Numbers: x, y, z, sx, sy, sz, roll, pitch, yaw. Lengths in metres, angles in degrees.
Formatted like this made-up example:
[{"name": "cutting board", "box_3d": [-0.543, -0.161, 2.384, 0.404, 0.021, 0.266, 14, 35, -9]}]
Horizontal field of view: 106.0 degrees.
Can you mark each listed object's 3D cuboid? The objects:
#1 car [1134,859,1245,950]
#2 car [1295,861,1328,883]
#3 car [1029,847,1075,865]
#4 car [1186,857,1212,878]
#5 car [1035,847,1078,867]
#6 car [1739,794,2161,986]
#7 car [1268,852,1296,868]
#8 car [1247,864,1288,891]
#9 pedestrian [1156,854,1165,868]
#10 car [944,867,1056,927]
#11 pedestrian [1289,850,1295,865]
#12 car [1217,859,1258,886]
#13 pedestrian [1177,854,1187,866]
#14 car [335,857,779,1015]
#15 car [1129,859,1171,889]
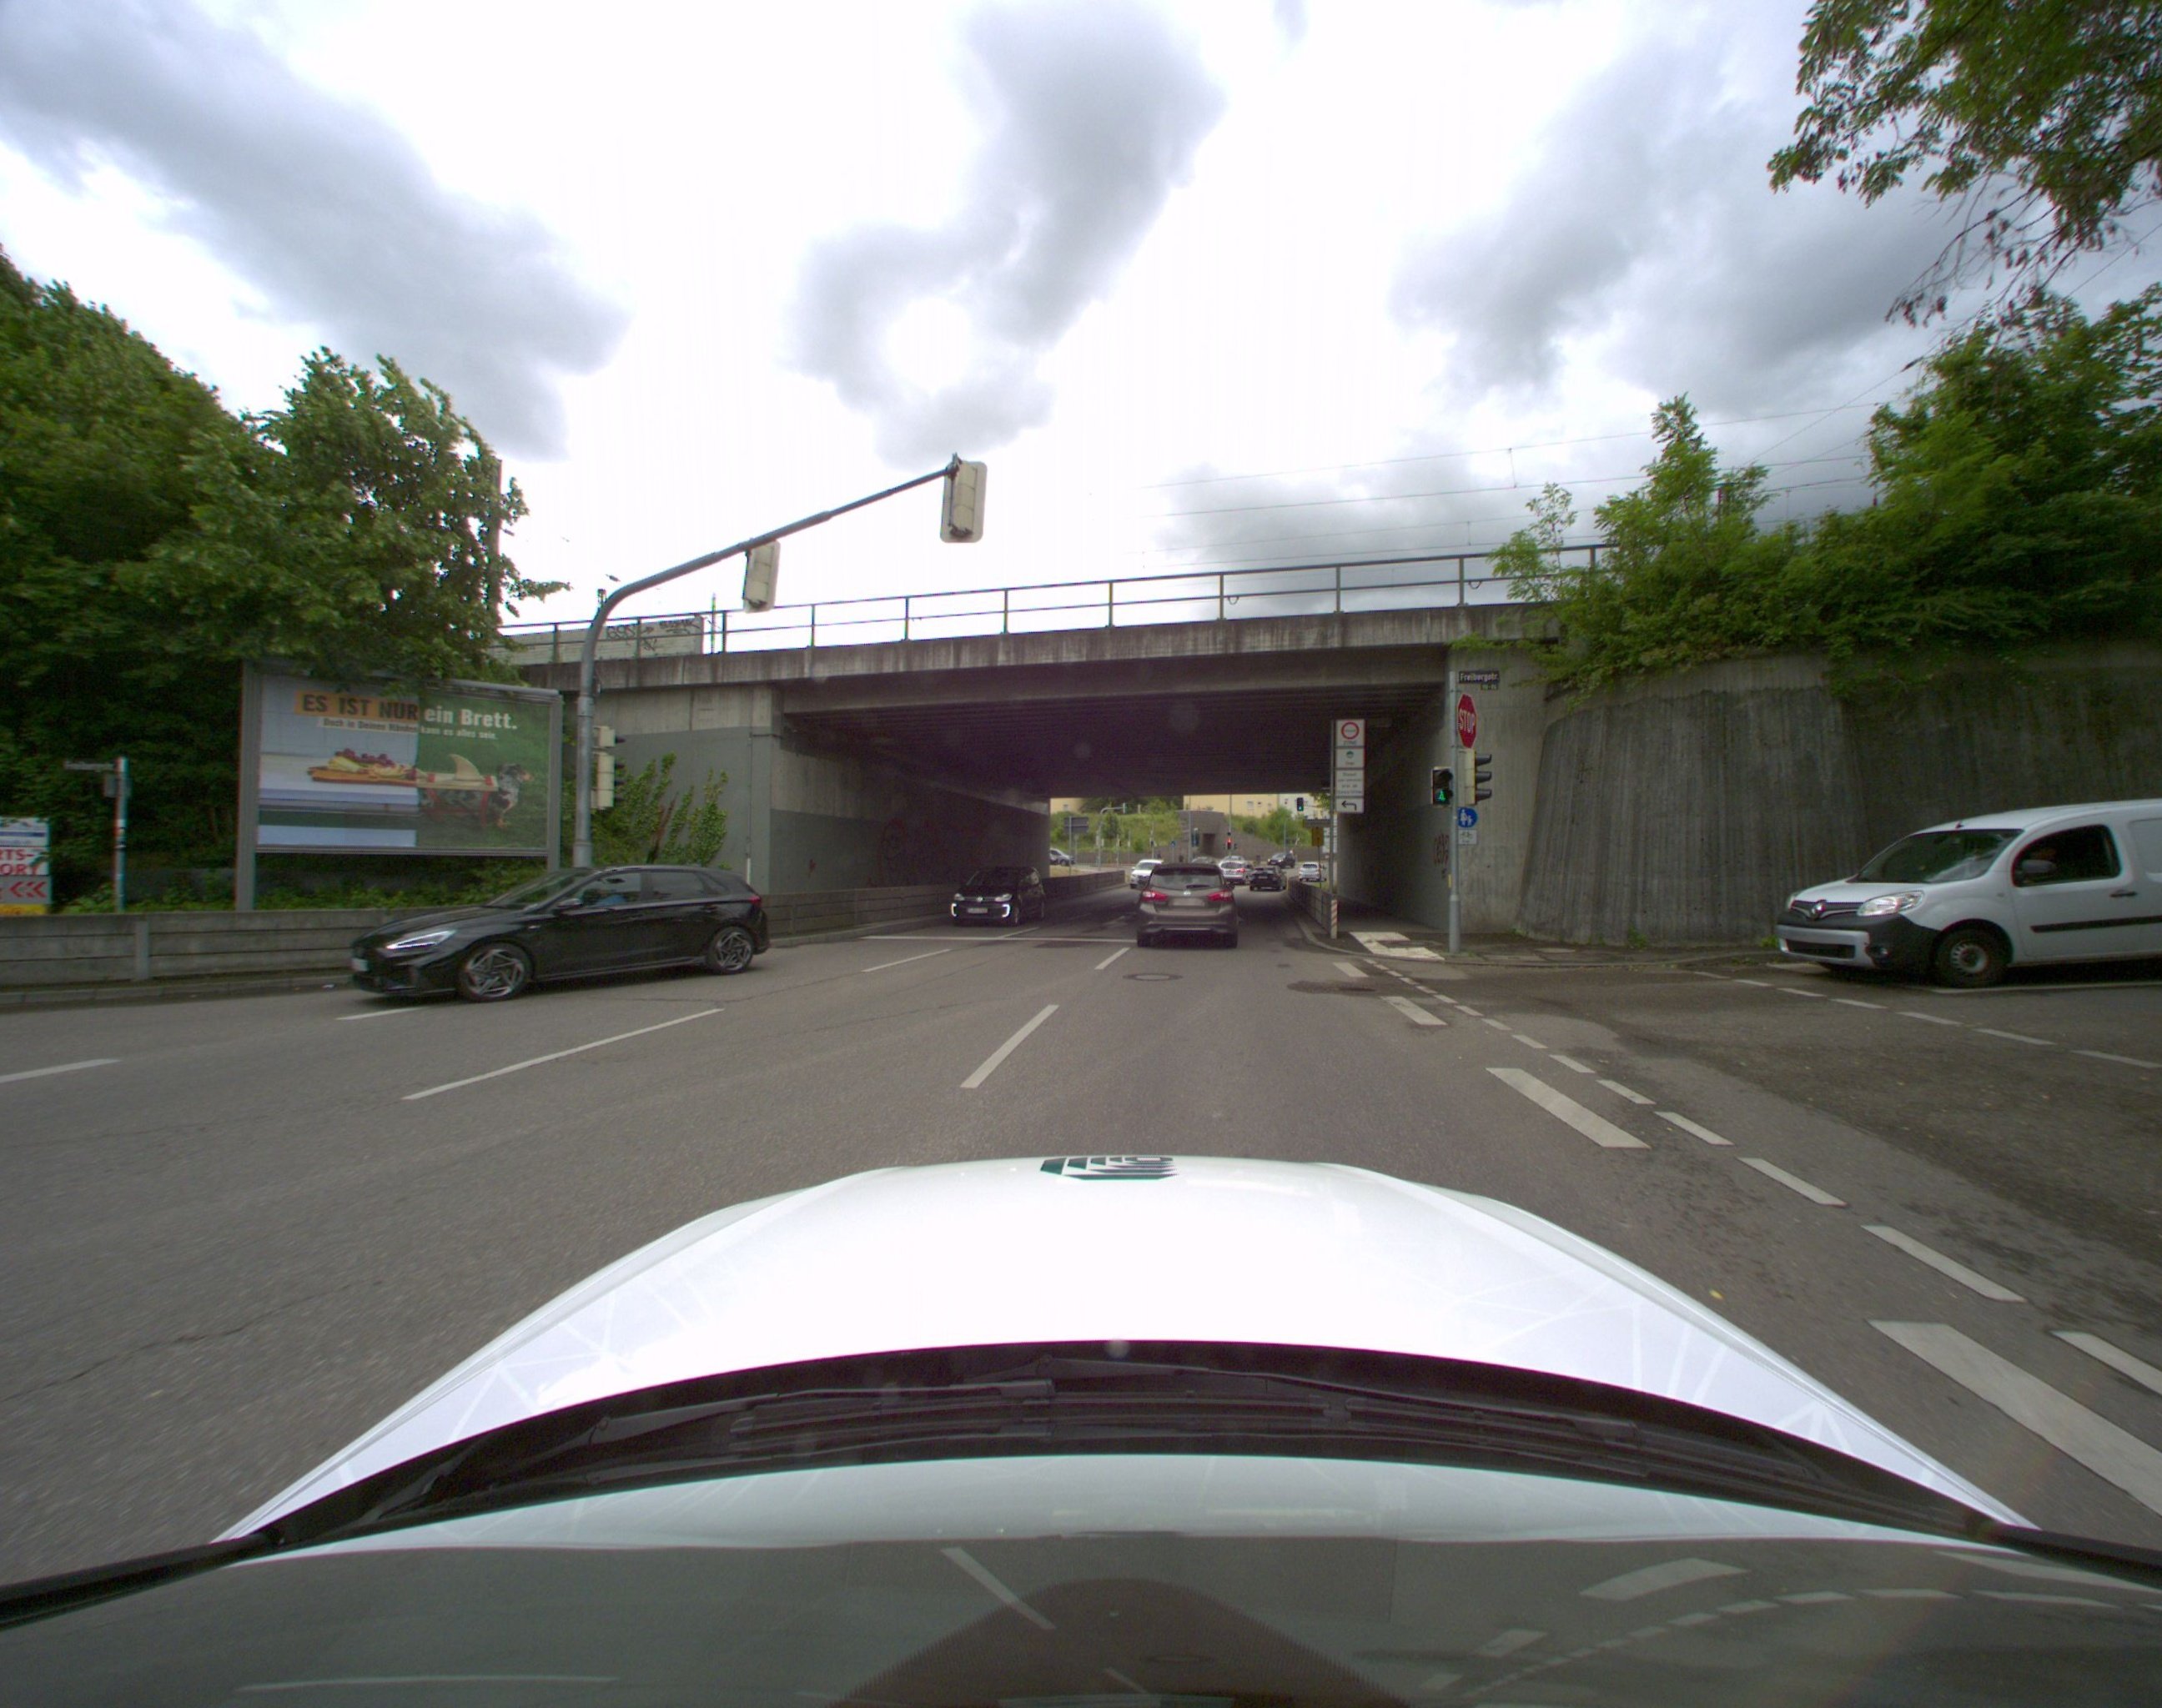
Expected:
[{"name": "car", "box_3d": [1.965, 0.866, 15.665, 1.836, 1.493, 4.004, 1, -1, 4]}, {"name": "car", "box_3d": [18.012, 1.356, 63.481, 1.976, 1.618, 4.022, 0, 0, 23]}, {"name": "car", "box_3d": [-2.769, 0.177, 77.352, 3.956, 1.596, 1.880, 1, 0, 17]}, {"name": "car", "box_3d": [9.829, 1.102, 67.691, 1.674, 1.708, 3.804, 0, 0, 14]}, {"name": "car", "box_3d": [-2.424, 0.269, 82.432, 3.962, 1.948, 2.006, 0, 0, 10]}, {"name": "car", "box_3d": [10.358, 0.355, 8.972, 4.456, 1.785, 1.830, -3, -2, 7]}, {"name": "car", "box_3d": [21.763, 0.685, 88.253, 1.975, 1.698, 4.192, 0, 0, 28]}, {"name": "car", "box_3d": [10.987, 1.340, 47.679, 1.884, 1.466, 4.020, 0, 0, 19]}, {"name": "pedestrian", "box_3d": [9.116, 0.821, 93.216, 0.948, 1.613, 0.700, 1, 0, 3]}, {"name": "car", "box_3d": [-1.990, 1.048, 21.213, 1.711, 1.410, 4.013, 0, -1, 13]}, {"name": "pedestrian", "box_3d": [25.932, 0.397, 100.036, 0.599, 1.863, 0.600, 1, 0, 17]}, {"name": "car", "box_3d": [10.618, 1.214, 55.093, 1.813, 1.706, 3.890, 1, 0, 25]}, {"name": "pedestrian", "box_3d": [10.816, 0.617, 87.260, 0.906, 1.224, 0.730, 4, 1, 4]}, {"name": "car", "box_3d": [-6.091, 0.819, 9.977, 1.799, 1.477, 4.163, 1, -1, 35]}, {"name": "car", "box_3d": [4.054, 1.138, 47.182, 1.771, 1.660, 4.123, 1, -1, 13]}]
